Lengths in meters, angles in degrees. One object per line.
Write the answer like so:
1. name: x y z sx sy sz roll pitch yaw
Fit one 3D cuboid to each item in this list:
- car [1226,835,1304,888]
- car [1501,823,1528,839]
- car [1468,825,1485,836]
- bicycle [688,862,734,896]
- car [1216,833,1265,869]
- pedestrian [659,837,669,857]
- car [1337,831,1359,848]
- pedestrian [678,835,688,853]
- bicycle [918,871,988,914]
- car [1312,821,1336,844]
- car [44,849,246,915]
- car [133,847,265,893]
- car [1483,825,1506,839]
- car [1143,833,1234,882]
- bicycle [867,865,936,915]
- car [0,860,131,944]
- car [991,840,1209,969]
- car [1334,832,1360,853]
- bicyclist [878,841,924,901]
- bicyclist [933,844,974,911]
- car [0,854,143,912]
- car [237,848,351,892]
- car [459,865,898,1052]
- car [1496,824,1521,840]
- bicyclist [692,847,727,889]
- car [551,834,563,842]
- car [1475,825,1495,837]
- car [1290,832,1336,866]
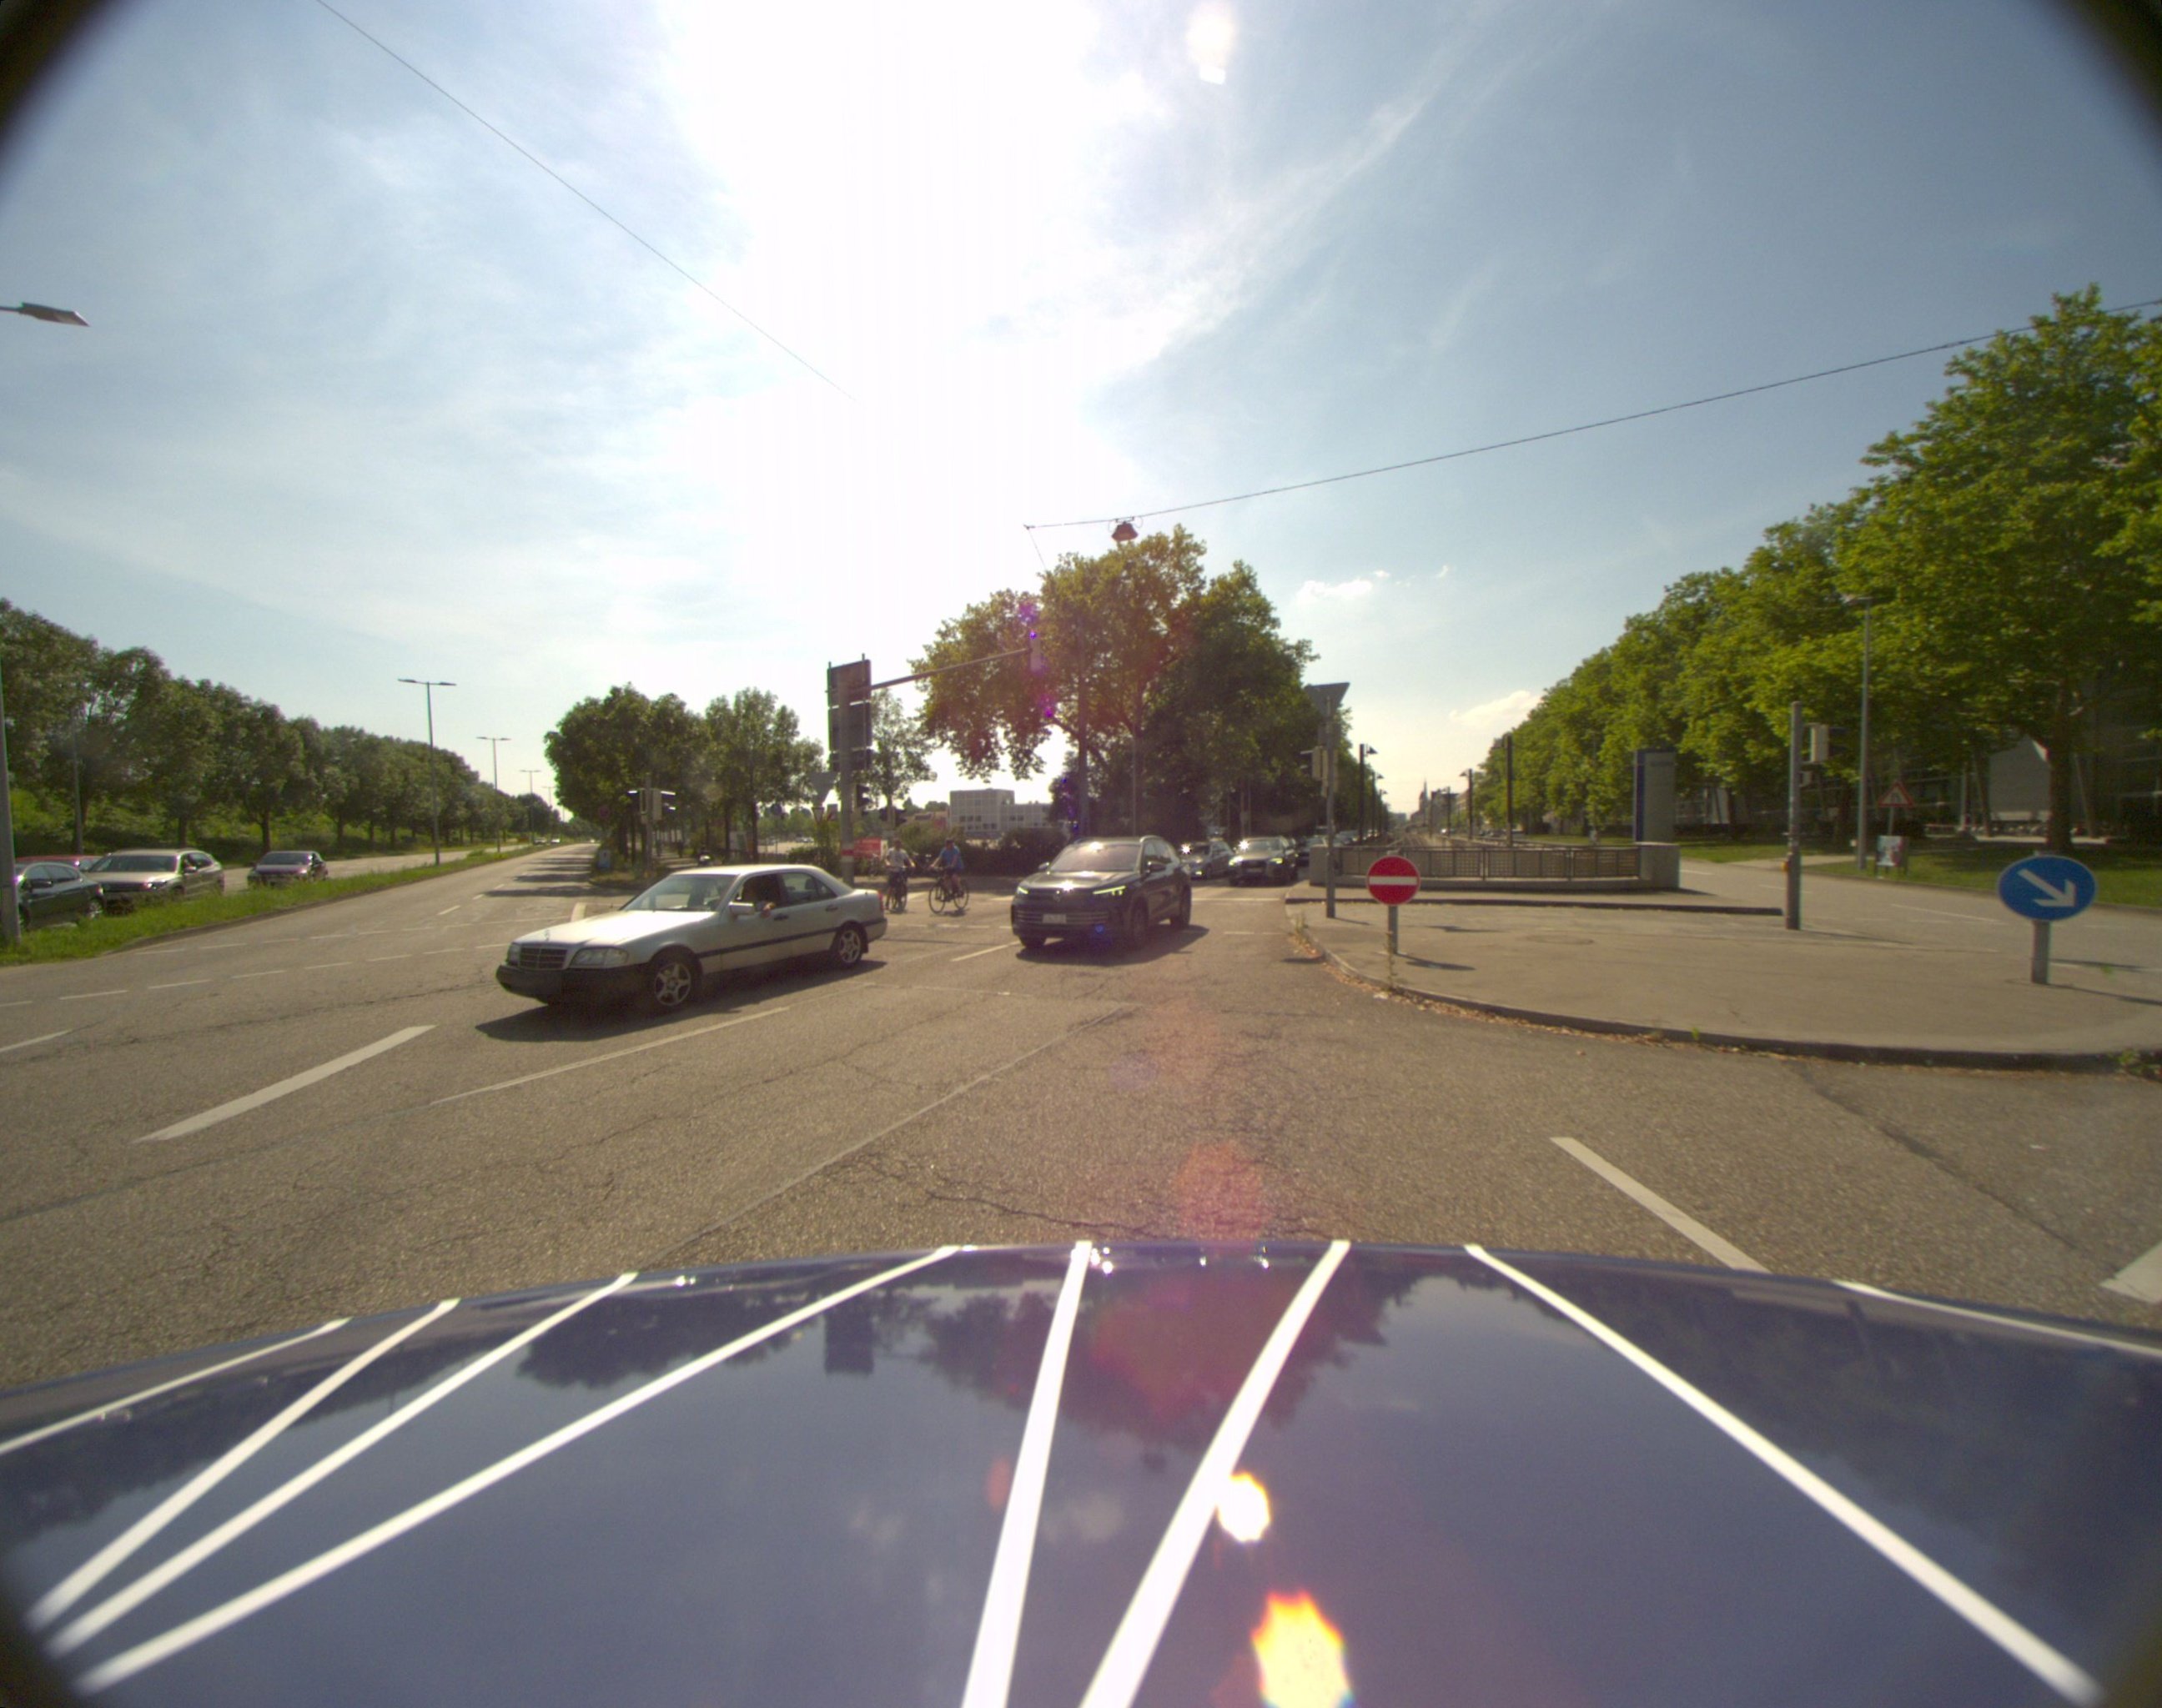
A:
1. car: 6.249 0.181 25.490 1.826 1.541 4.566 0 2 23
2. car: 45.710 -2.424 80.162 1.899 1.630 4.005 -2 1 21
3. car: 61.580 -3.609 118.222 1.899 1.630 4.005 -2 1 21
4. bicycle: -13.413 0.891 27.484 0.886 1.054 2.764 -3 3 -39
5. car: 8.650 -0.219 40.870 1.896 1.762 4.177 0 2 21
6. pedestrian: -36.072 -0.594 65.661 0.632 1.700 0.766 -3 3 -33
7. car: 25.247 -1.358 71.773 1.779 1.487 4.005 0 2 21
8. pedestrian: -33.959 -0.836 64.867 0.579 1.516 0.877 -3 3 -33
9. bicycle: -3.067 0.915 18.506 0.546 0.831 2.303 0 3 22
10. car: 26.040 -2.344 81.229 2.097 2.339 5.642 0 2 21
11. car: -24.547 0.661 20.175 1.718 1.499 4.202 -3 1 -26
12. car: -32.575 0.536 28.225 1.718 1.499 3.991 -3 1 -26
13. car: 51.078 -2.769 93.854 1.899 1.630 4.790 -2 1 21
14. car: 4.357 0.069 30.021 1.995 1.714 5.172 -2 1 26
15. bicycle: -4.566 0.864 19.178 0.775 1.048 2.394 -3 3 -37
16. car: -21.095 0.928 14.748 1.718 1.499 3.991 -3 1 -26
17. car: 0.603 0.622 12.693 1.944 1.599 4.981 0 3 23
18. car: 20.548 -0.937 58.674 1.779 1.487 4.005 0 2 21
19. bicyclist: -4.525 0.411 19.093 0.775 1.428 0.918 -3 4 -37
20. bicyclist: -3.091 0.552 18.458 0.546 1.558 0.910 1 3 22
21. car: -29.355 0.776 21.641 1.718 1.499 3.991 -3 1 -26
22. car: -30.015 0.560 29.139 1.718 1.499 3.991 -3 1 -26
23. car: -4.237 0.945 8.955 1.712 1.384 4.447 0 2 23
24. car: 47.795 -2.475 84.943 1.899 1.630 4.005 -2 1 21
25. bicyclist: -13.448 0.491 27.504 0.886 1.435 0.963 -3 3 -39
26. car: -121.895 -3.760 176.741 2.003 1.740 4.261 -2 3 -31
27. car: 56.194 -3.188 105.719 1.899 1.630 4.005 -2 1 21
28. car: 11.987 -0.281 39.114 1.815 1.604 4.005 -2 1 23
